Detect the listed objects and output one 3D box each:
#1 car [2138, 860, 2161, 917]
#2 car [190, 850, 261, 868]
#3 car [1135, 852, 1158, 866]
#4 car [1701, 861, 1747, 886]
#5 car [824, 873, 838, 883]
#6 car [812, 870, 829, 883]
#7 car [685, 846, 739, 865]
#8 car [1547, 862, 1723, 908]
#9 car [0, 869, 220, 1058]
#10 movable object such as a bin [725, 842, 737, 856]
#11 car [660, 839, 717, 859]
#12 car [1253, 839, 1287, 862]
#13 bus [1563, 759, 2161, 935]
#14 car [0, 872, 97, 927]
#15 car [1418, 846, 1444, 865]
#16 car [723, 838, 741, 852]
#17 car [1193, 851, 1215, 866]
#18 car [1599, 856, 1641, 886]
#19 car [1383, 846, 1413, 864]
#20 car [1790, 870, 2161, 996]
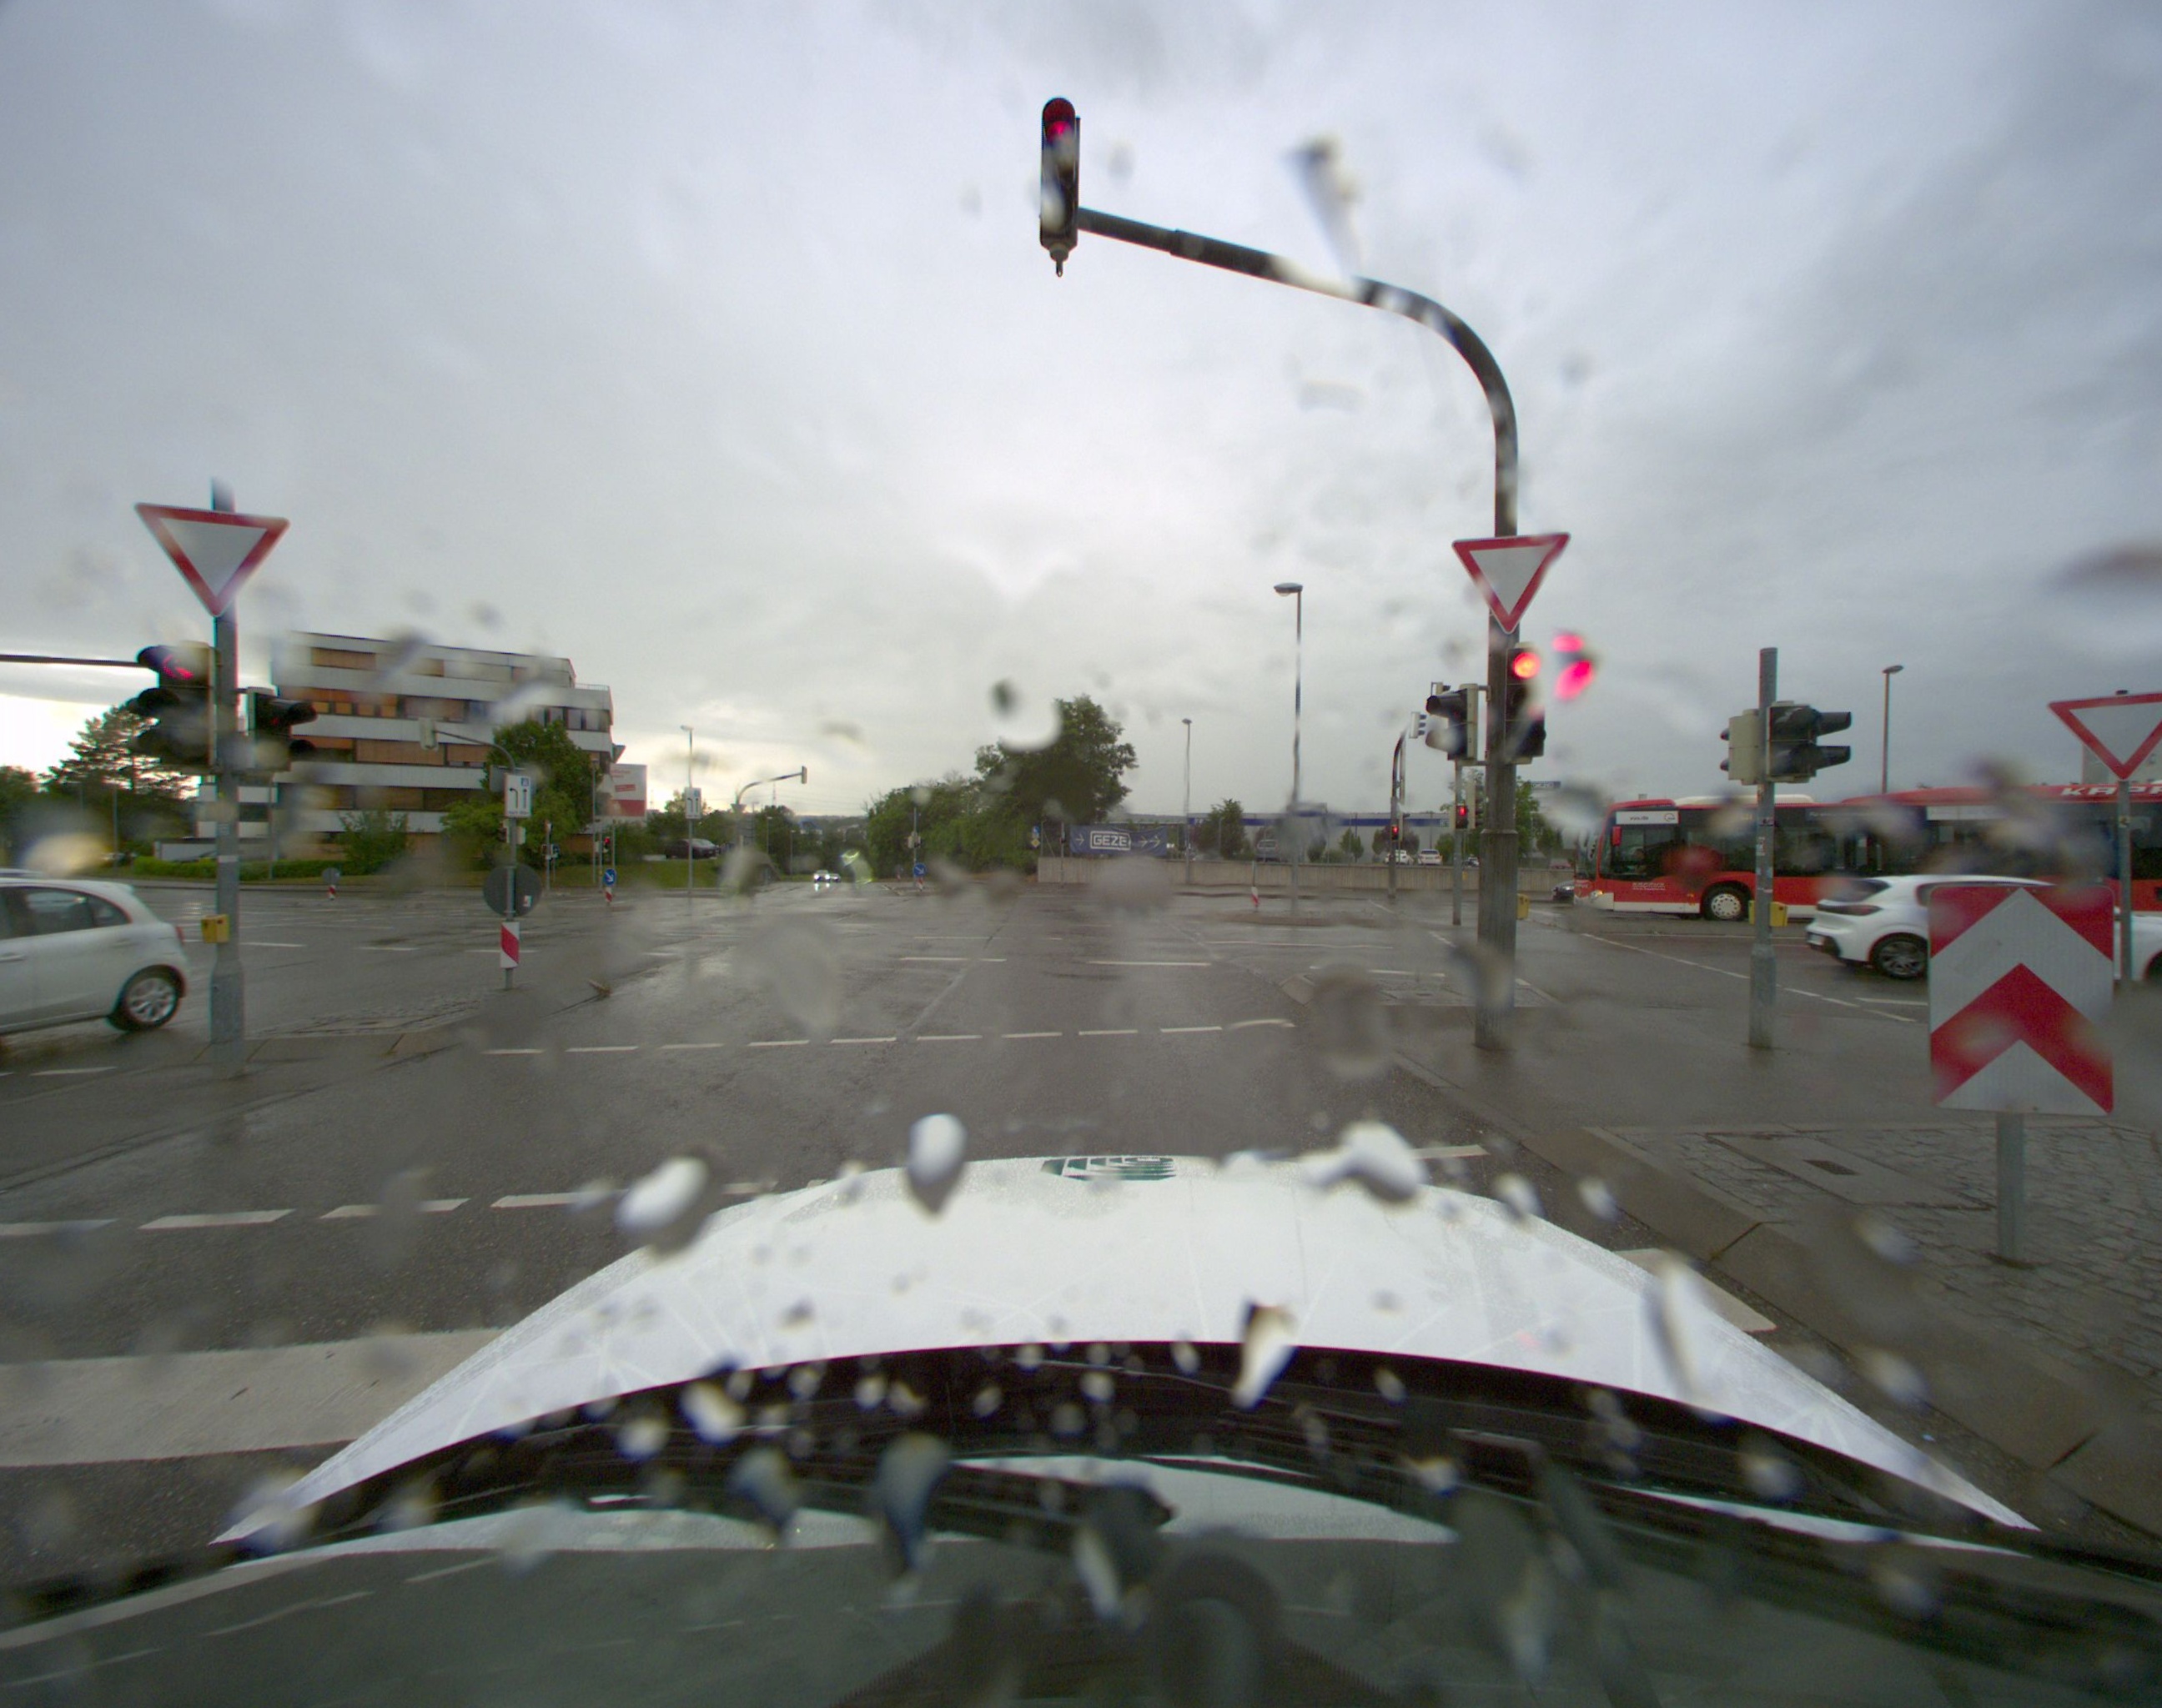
[{"bbox_3d":[31.678,0.953,21.495,4.344,1.538,1.834,0,0,18],"label":"car"},{"bbox_3d":[-70.224,0.411,66.927,3.779,1.399,1.977,0,0,-40],"label":"car"},{"bbox_3d":[7.762,0.582,95.909,1.651,1.606,3.550,-1,-1,23],"label":"car"},{"bbox_3d":[52.946,1.575,67.144,1.976,2.014,4.022,-1,-1,24],"label":"car"},{"bbox_3d":[-42.150,4.019,137.394,1.721,1.494,3.985,0,-1,-11],"label":"car"},{"bbox_3d":[-29.503,2.514,92.247,1.667,1.494,3.973,0,-1,-20],"label":"car"},{"bbox_3d":[-32.562,0.123,71.859,3.958,1.586,1.909,0,-2,14],"label":"car"},{"bbox_3d":[17.632,0.948,26.157,4.344,1.354,1.834,0,0,18],"label":"car"},{"bbox_3d":[-9.607,0.932,6.512,1.619,1.505,3.813,-2,0,-7],"label":"car"},{"bbox_3d":[-37.764,-0.525,87.892,1.089,1.437,1.434,1,-3,-25],"label":"movable object such as a bin"},{"bbox_3d":[-33.431,-0.435,69.357,3.962,1.586,1.907,0,-2,10],"label":"car"},{"bbox_3d":[13.349,-0.242,57.292,1.727,1.553,3.550,-1,-1,23],"label":"car"},{"bbox_3d":[18.685,-0.243,19.264,12.152,3.576,3.001,2,0,19],"label":"bus"},{"bbox_3d":[-28.842,1.169,21.807,4.479,1.363,1.771,-1,-1,20],"label":"car"},{"bbox_3d":[28.897,0.134,67.203,1.841,1.526,4.127,-1,-1,25],"label":"car"},{"bbox_3d":[-41.301,-1.077,96.214,1.836,1.442,3.967,1,-2,-25],"label":"car"},{"bbox_3d":[13.947,0.508,92.456,1.651,1.606,3.550,-1,-1,23],"label":"car"},{"bbox_3d":[37.572,1.143,56.832,1.727,2.014,3.844,-1,-1,23],"label":"car"},{"bbox_3d":[26.469,0.112,67.892,1.800,1.434,4.128,-1,-1,28],"label":"car"},{"bbox_3d":[12.610,0.985,11.217,3.931,1.508,1.882,-1,-1,26],"label":"car"}]
